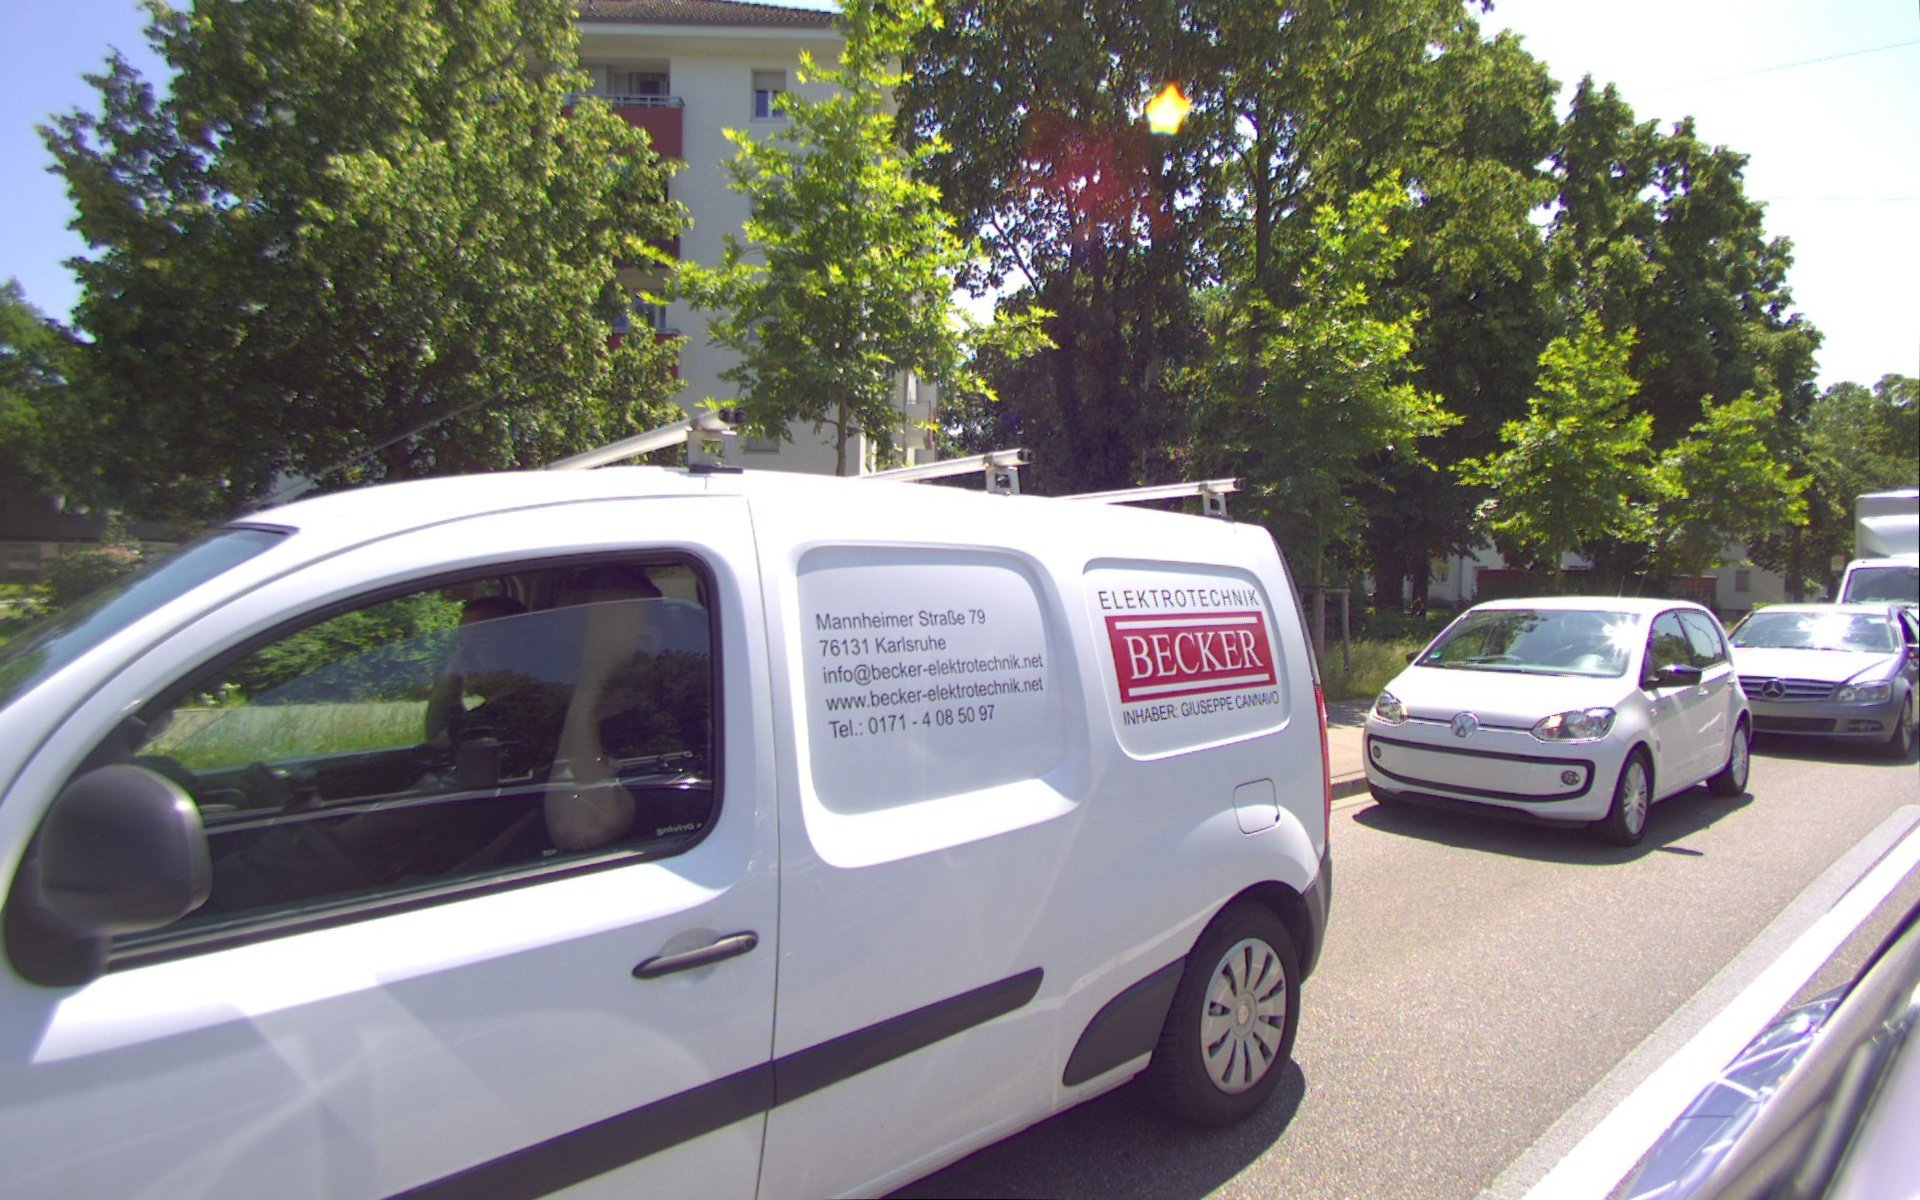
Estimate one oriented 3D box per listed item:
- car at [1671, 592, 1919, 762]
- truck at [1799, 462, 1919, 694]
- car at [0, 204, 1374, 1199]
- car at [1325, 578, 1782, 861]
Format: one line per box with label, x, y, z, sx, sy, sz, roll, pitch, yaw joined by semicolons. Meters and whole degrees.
car;9.231;0.655;10.738;4.016;1.426;1.839;0;1;-41
truck;16.950;-0.337;17.324;7.778;3.387;2.434;0;1;-39
car;-0.996;0.455;2.535;4.370;1.849;1.997;0;1;-41
car;4.398;0.622;7.288;3.705;1.497;1.729;0;1;-41
